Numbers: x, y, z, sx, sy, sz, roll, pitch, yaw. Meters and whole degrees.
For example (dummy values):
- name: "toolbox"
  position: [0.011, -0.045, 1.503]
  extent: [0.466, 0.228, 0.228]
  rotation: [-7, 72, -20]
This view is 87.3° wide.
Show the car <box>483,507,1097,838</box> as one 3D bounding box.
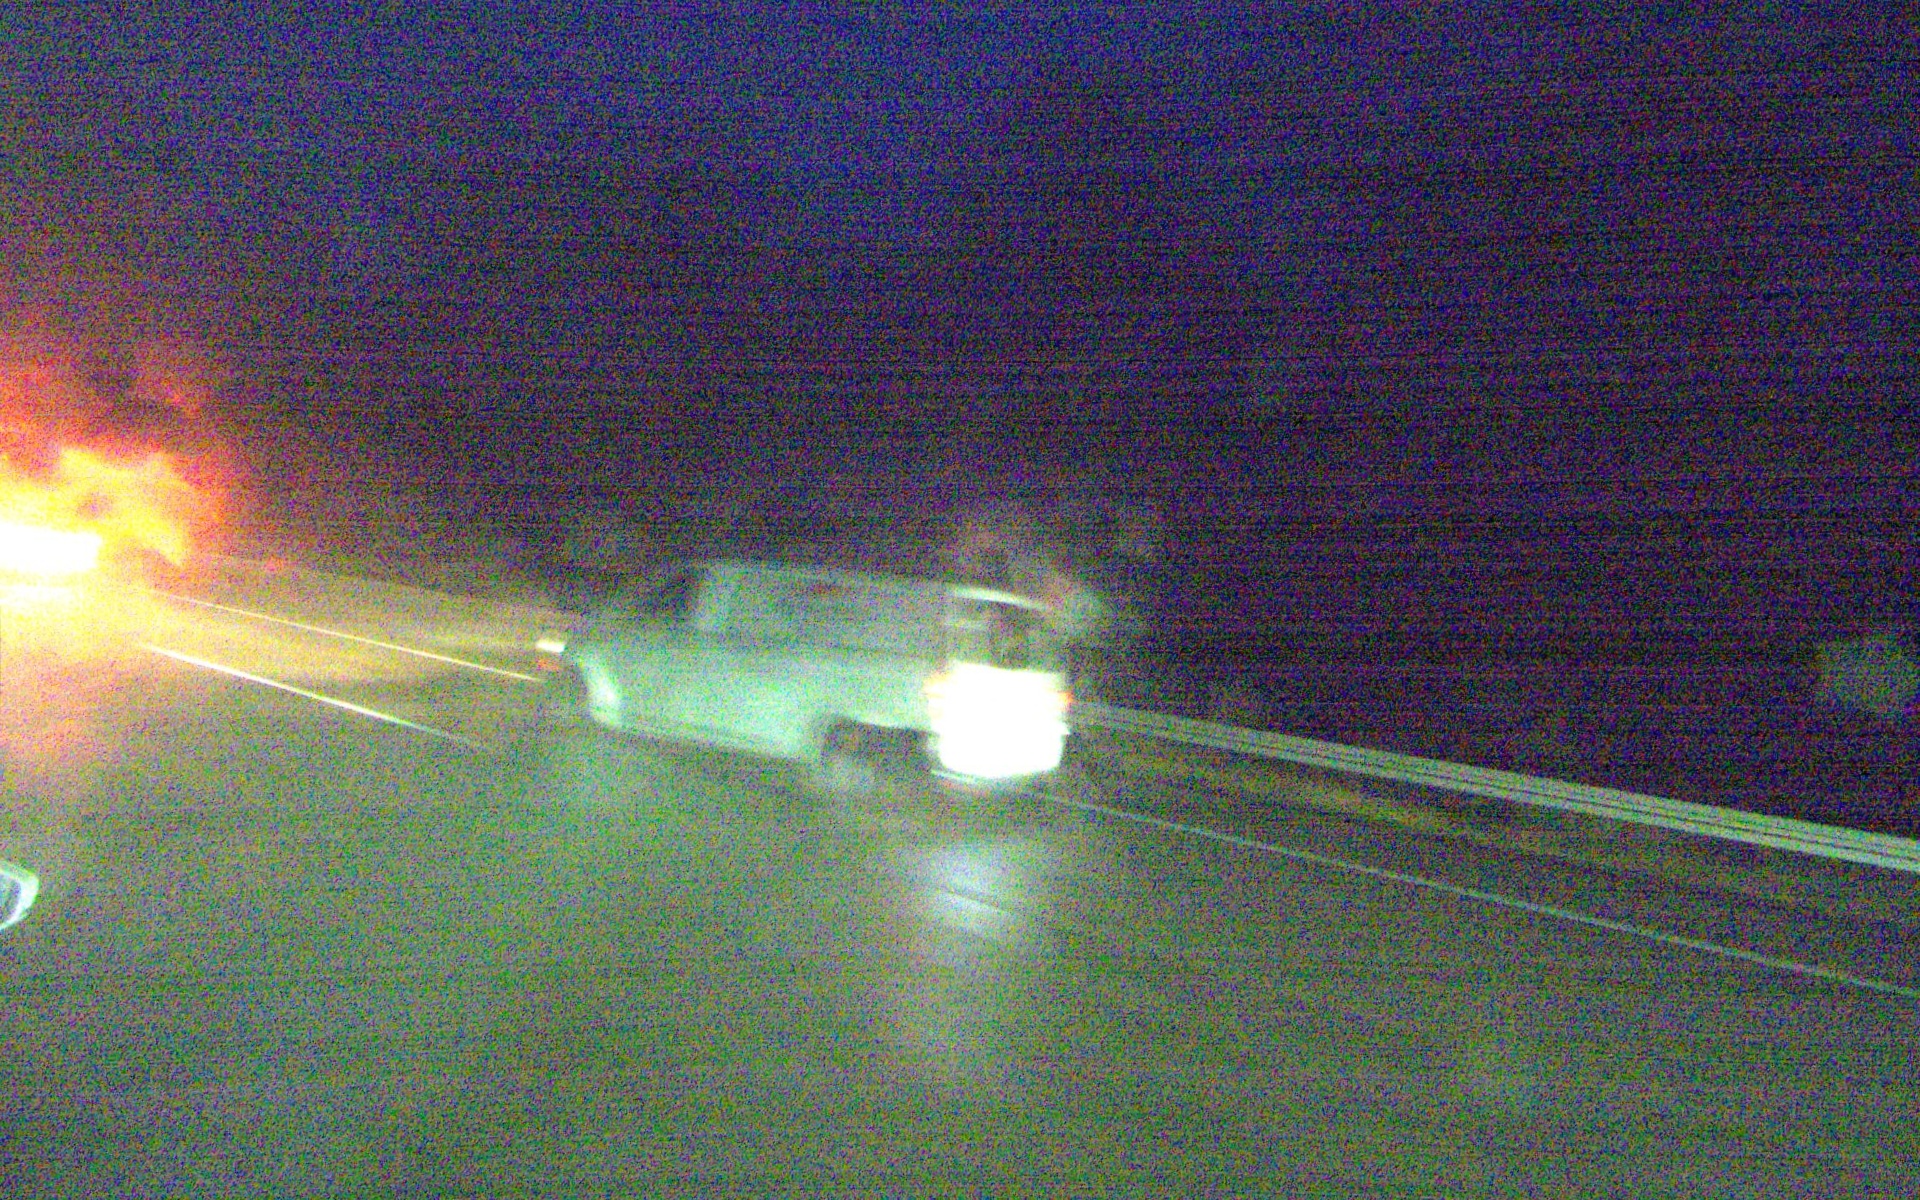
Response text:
- name: "car"
  position: [-1.711, 0.487, 9.255]
  extent: [5.316, 1.997, 2.051]
  rotation: [7, -2, 31]

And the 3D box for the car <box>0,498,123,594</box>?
- name: "car"
  position: [-18.928, -1.228, 19.972]
  extent: [4.878, 1.503, 1.898]
  rotation: [7, -2, 31]
